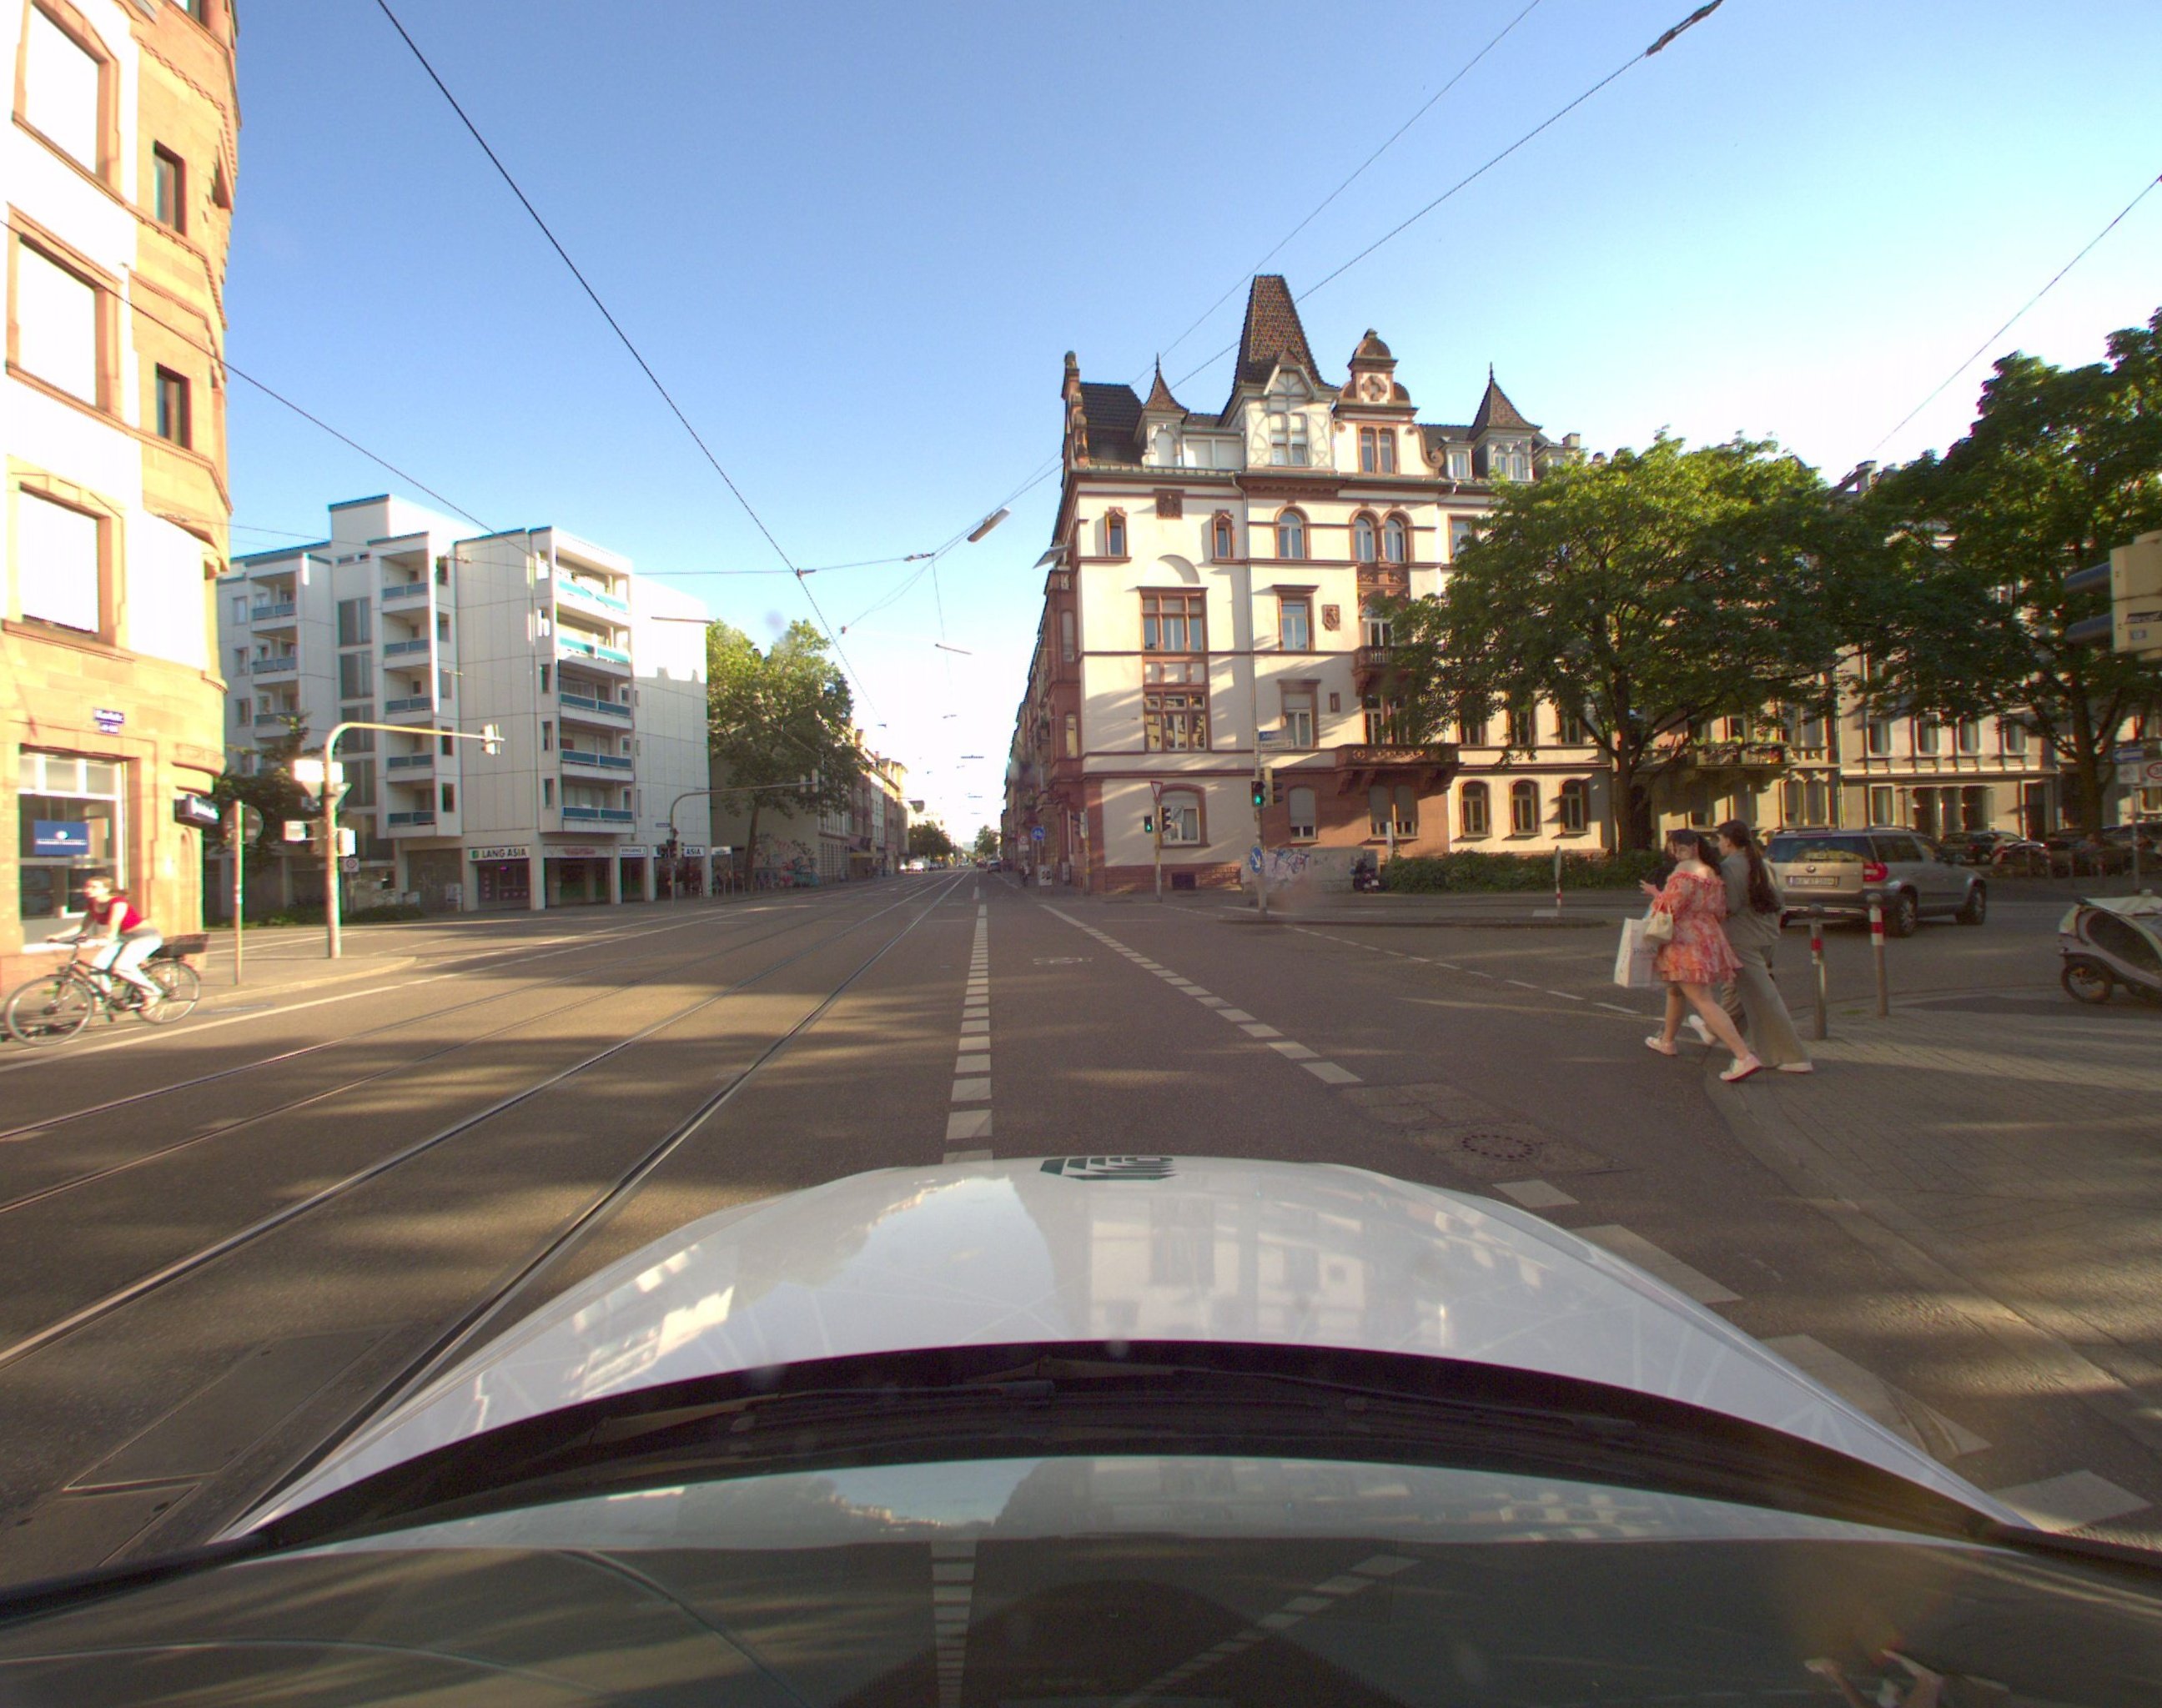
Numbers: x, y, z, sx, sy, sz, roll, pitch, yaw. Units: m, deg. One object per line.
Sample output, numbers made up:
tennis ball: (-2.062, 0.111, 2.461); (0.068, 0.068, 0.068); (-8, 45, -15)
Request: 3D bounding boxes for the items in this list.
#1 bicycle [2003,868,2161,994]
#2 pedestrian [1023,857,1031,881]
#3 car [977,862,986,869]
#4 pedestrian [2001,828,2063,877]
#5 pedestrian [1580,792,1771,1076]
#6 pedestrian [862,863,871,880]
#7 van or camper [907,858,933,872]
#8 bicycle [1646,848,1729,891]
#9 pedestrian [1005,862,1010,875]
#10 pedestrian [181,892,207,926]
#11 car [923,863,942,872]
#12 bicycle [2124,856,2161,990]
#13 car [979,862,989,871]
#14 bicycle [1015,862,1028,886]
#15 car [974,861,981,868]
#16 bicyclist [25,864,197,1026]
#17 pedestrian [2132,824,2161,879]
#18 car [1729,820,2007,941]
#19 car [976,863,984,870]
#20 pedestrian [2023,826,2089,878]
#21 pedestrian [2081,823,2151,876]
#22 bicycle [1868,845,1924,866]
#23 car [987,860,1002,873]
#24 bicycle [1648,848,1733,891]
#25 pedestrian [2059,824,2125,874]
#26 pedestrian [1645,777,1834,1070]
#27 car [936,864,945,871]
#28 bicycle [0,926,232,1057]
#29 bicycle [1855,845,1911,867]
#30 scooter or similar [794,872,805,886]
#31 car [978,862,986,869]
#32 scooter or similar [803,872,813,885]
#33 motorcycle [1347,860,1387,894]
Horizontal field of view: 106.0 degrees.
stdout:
bicycle: (9.401, 0.659, 7.402); (0.774, 1.045, 1.063); (-2, -2, 2)
pedestrian: (-4.084, 1.118, 61.893); (0.544, 1.780, 0.503); (-2, -1, -7)
car: (-23.854, 2.801, 195.056); (1.992, 1.728, 3.989); (-1, -1, -8)
pedestrian: (29.401, -0.043, 25.195); (0.904, 1.428, 0.770); (-6, -2, 25)
pedestrian: (4.109, 0.507, 5.663); (0.808, 1.800, 0.756); (0, -1, -22)
pedestrian: (-22.005, 1.780, 83.597); (0.700, 1.728, 0.646); (-2, -1, -7)
van or camper: (-32.260, 2.222, 162.906); (4.672, 2.563, 1.977); (-1, -1, -38)
bicycle: (17.566, 0.448, 23.618); (1.841, 1.161, 0.563); (-2, 1, 30)
pedestrian: (-9.714, 1.939, 108.057); (0.544, 1.780, 0.748); (-2, -1, -6)
pedestrian: (-46.481, 2.869, 42.666); (0.641, 1.696, 0.665); (-2, -1, 16)
car: (-36.130, 3.203, 197.979); (4.014, 2.014, 1.980); (-2, -1, -32)
bicycle: (10.178, 0.605, 6.737); (0.503, 1.223, 1.918); (-2, -2, -3)
car: (-20.424, 2.682, 171.374); (1.992, 1.728, 3.989); (-1, -1, -8)
bicycle: (-3.408, 1.137, 46.511); (0.652, 1.323, 2.173); (-2, -1, -5)
car: (-30.123, 3.046, 236.908); (1.992, 1.728, 3.989); (-1, -1, -8)
bicyclist: (-10.593, 0.949, 8.942); (0.701, 1.643, 0.987); (-2, -1, -8)
pedestrian: (28.913, -0.097, 21.601); (0.904, 1.428, 0.770); (-6, -2, 25)
car: (12.934, 0.305, 13.402); (4.007, 1.617, 1.984); (-3, 4, -25)
car: (-25.750, 3.159, 208.280); (1.992, 1.728, 3.990); (-1, -1, -7)
pedestrian: (28.993, -0.059, 24.234); (0.903, 1.428, 0.770); (-6, -2, 26)
pedestrian: (29.953, -0.132, 23.584); (0.903, 1.428, 0.770); (-6, -2, 26)
bicycle: (34.580, 0.070, 34.588); (0.491, 0.893, 1.794); (-2, 0, -5)
car: (-12.211, 1.799, 115.119); (1.947, 1.684, 3.991); (-2, 0, -6)
bicycle: (17.252, 0.448, 23.101); (1.841, 1.161, 0.563); (-2, 1, 30)
pedestrian: (30.521, -0.148, 24.602); (0.904, 1.428, 0.770); (-6, -2, 25)
pedestrian: (4.706, 0.462, 5.841); (0.695, 1.908, 0.664); (-6, -1, -29)
car: (-38.712, 3.720, 224.527); (1.992, 2.014, 3.989); (-2, 0, -8)
bicycle: (-10.578, 1.438, 8.944); (0.696, 1.109, 1.892); (-2, 0, -8)
bicycle: (33.936, 0.087, 34.487); (0.491, 0.893, 1.794); (-2, 0, -5)
scooter or similar: (-22.321, 1.960, 64.588); (0.516, 1.045, 1.474); (-2, -1, -9)
car: (-24.396, 2.801, 200.180); (1.992, 1.728, 3.989); (-1, -1, -8)
scooter or similar: (-21.696, 1.939, 64.708); (0.516, 1.057, 1.474); (-2, -1, -9)
motorcycle: (9.745, 0.760, 27.812); (0.716, 1.020, 2.290); (-2, 2, 5)
